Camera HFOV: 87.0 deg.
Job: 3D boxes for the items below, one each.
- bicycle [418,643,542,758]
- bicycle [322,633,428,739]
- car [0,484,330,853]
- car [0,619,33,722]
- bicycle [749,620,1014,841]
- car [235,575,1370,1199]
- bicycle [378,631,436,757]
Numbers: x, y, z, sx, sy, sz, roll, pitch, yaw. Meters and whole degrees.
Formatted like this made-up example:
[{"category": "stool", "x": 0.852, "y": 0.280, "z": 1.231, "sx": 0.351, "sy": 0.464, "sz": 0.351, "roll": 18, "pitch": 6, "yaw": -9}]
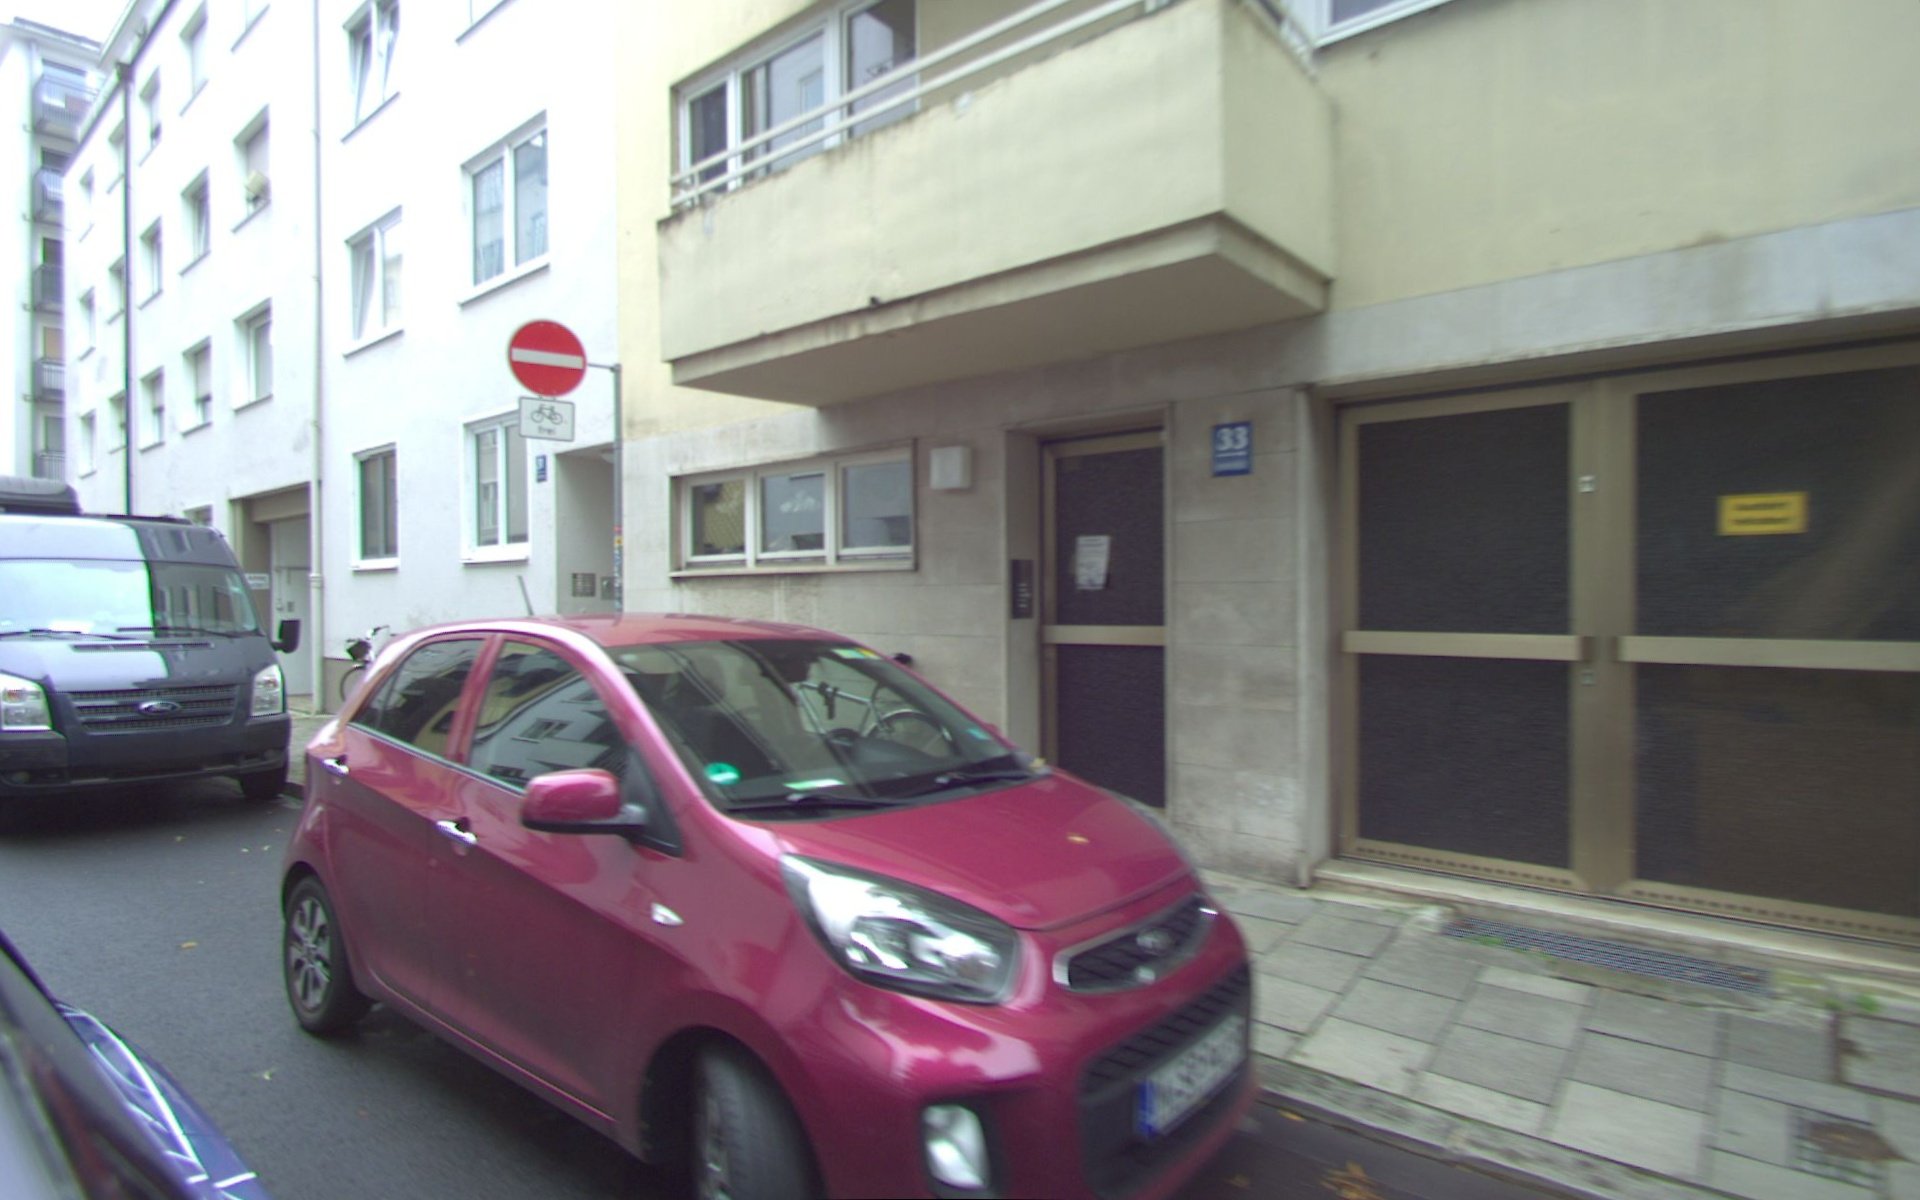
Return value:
[{"category": "bicycle", "x": -4.718, "y": 0.942, "z": 9.913, "sx": 1.590, "sy": 0.991, "sz": 0.484, "roll": -1, "pitch": 0, "yaw": 41}, {"category": "bicycle", "x": -6.821, "y": 0.954, "z": 11.758, "sx": 1.869, "sy": 1.106, "sz": 0.458, "roll": -1, "pitch": 0, "yaw": 41}, {"category": "car", "x": -7.532, "y": 0.459, "z": 8.676, "sx": 5.386, "sy": 2.296, "sz": 1.998, "roll": 0, "pitch": -2, "yaw": 40}, {"category": "car", "x": -15.500, "y": 1.011, "z": 15.396, "sx": 3.740, "sy": 1.457, "sz": 1.595, "roll": 0, "pitch": -2, "yaw": 41}, {"category": "bicycle", "x": -0.524, "y": 0.707, "z": 6.114, "sx": 1.758, "sy": 1.157, "sz": 0.462, "roll": -1, "pitch": 0, "yaw": 40}, {"category": "car", "x": -0.810, "y": 0.735, "z": 3.321, "sx": 3.704, "sy": 1.508, "sz": 1.604, "roll": -1, "pitch": -1, "yaw": 38}, {"category": "bicycle", "x": -5.601, "y": 0.897, "z": 10.284, "sx": 0.456, "sy": 1.106, "sz": 1.876, "roll": -1, "pitch": 0, "yaw": -28}]
